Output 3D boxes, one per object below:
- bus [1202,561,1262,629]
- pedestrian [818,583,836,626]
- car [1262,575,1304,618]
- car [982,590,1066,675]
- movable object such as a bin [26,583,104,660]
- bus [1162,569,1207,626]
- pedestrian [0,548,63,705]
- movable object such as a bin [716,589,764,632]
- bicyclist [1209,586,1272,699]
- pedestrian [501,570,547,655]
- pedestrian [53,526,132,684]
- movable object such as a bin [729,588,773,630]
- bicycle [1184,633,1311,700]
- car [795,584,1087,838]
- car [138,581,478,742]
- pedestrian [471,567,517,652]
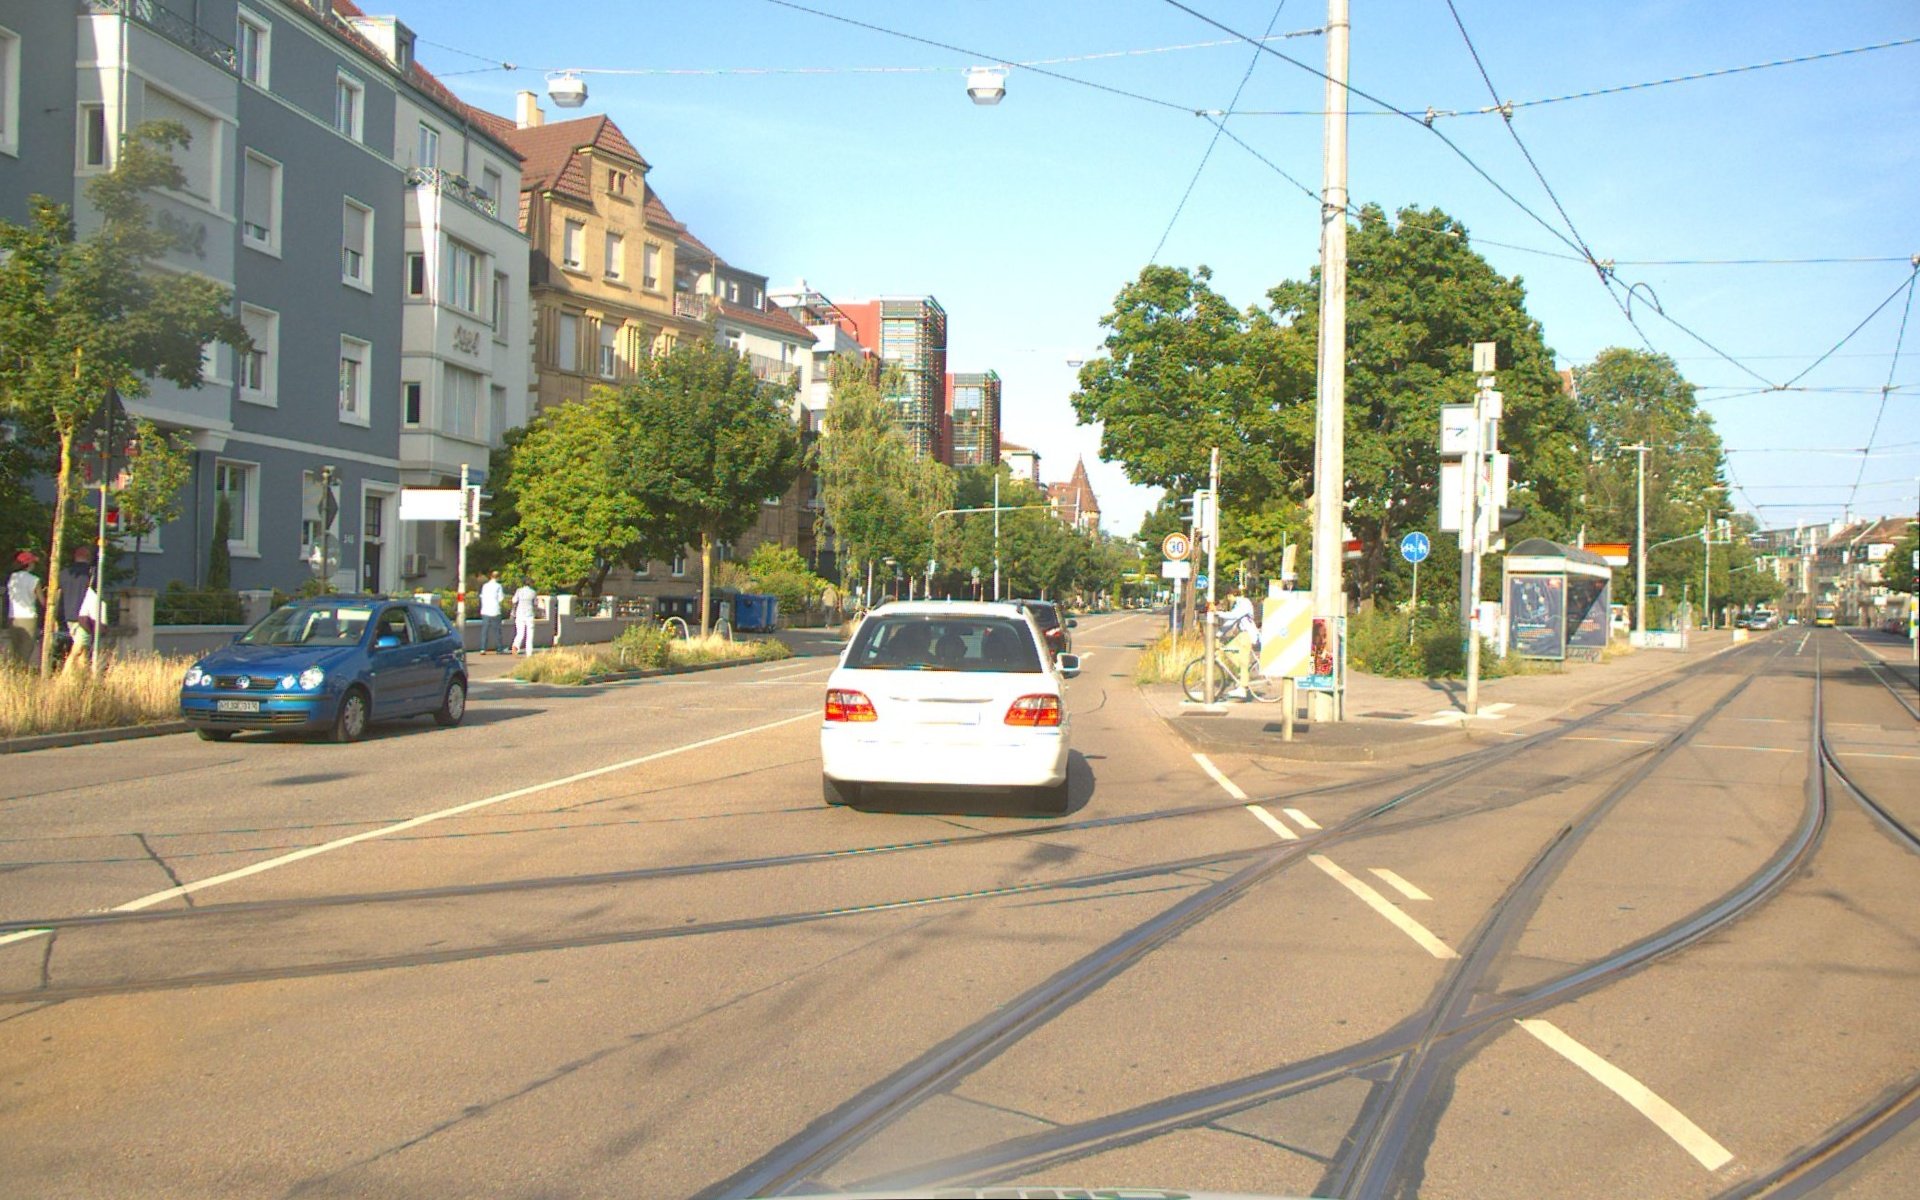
[{"bbox_3d":[10.698,-0.160,65.269,1.760,2.455,4.001,4,-1,3],"label":"bus"},{"bbox_3d":[-5.590,0.206,69.542,0.625,1.781,0.608,1,0,5],"label":"pedestrian"},{"bbox_3d":[15.140,-0.134,77.699,1.709,1.906,4.003,2,0,9],"label":"car"},{"bbox_3d":[1.361,0.660,35.386,1.607,1.628,3.816,3,0,2],"label":"car"},{"bbox_3d":[-11.538,0.272,21.332,0.570,0.963,0.663,2,0,12],"label":"movable object such as a bin"},{"bbox_3d":[10.990,-0.076,81.159,1.760,2.599,4.002,4,-1,4],"label":"bus"},{"bbox_3d":[-11.664,0.316,20.601,0.572,1.914,0.627,1,0,6],"label":"pedestrian"},{"bbox_3d":[-7.712,0.369,57.997,1.571,1.446,1.083,1,0,-5],"label":"movable object such as a bin"},{"bbox_3d":[4.384,0.656,25.874,0.880,1.728,0.732,0,0,2],"label":"bicyclist"},{"bbox_3d":[-9.264,0.260,35.165,0.625,1.781,0.912,1,0,5],"label":"pedestrian"},{"bbox_3d":[-10.768,0.058,20.539,0.572,1.914,0.627,1,0,7],"label":"pedestrian"},{"bbox_3d":[-7.477,0.329,59.230,1.504,1.446,1.083,1,0,-5],"label":"movable object such as a bin"},{"bbox_3d":[4.487,1.032,25.868,1.874,1.012,0.727,0,0,2],"label":"bicycle"},{"bbox_3d":[0.014,0.720,12.613,1.797,1.527,3.817,3,0,5],"label":"car"},{"bbox_3d":[-6.712,0.567,17.523,1.653,1.466,4.003,1,0,6],"label":"car"},{"bbox_3d":[-9.988,0.194,35.478,0.625,1.781,0.912,1,0,5],"label":"pedestrian"}]
